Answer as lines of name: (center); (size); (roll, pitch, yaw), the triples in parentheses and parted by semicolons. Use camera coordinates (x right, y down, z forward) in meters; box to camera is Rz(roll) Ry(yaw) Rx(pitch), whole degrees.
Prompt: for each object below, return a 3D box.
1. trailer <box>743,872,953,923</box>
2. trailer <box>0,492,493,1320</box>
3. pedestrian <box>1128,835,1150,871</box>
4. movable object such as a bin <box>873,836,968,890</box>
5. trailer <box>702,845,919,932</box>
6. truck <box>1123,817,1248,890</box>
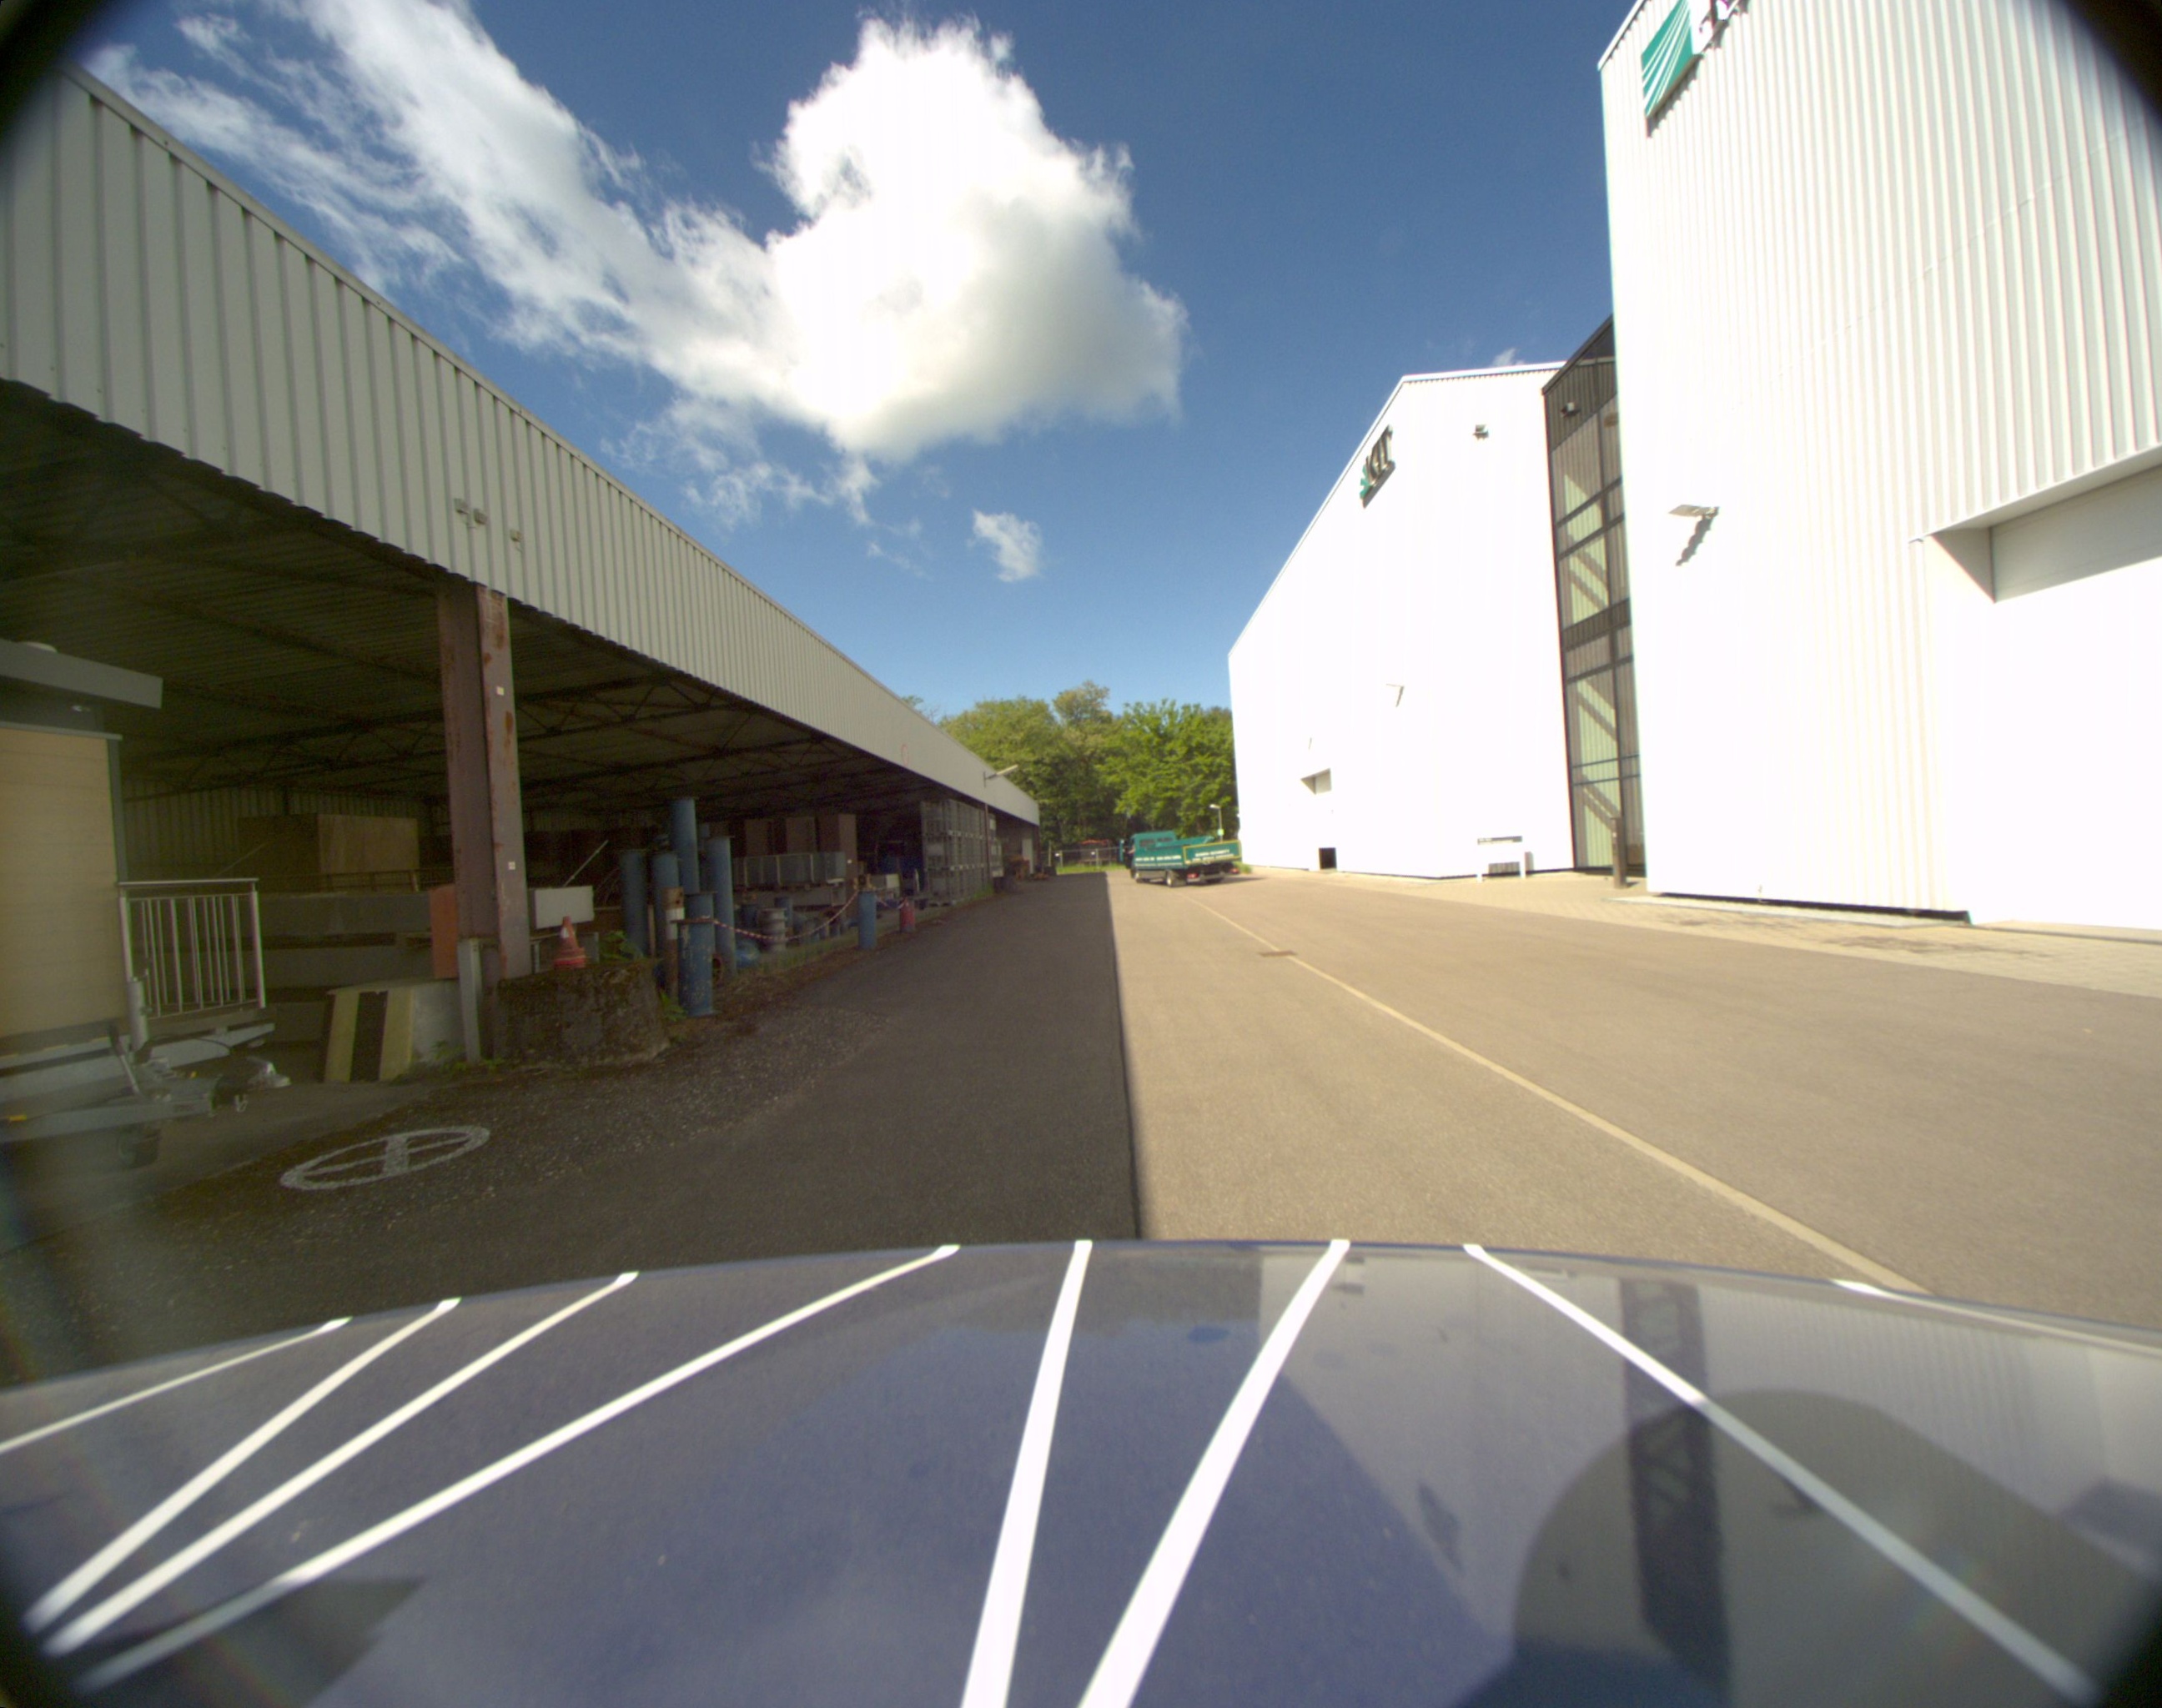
trailer: (-6.983, 1.291, 23.218); (5.748, 1.126, 2.009); (-3, 0, 0)
trailer: (-9.389, 0.369, 4.165); (10.317, 3.276, 2.675); (-2, 1, 2)
pedestrian: (2.969, -0.034, 38.800); (0.893, 1.792, 1.041); (-1, 1, 16)
movable object such as a bin: (-8.728, 0.488, 41.597); (4.626, 2.706, 2.000); (-2, -1, 0)
trailer: (-6.952, 0.856, 19.876); (4.828, 1.985, 2.047); (-2, 1, 4)
truck: (4.490, 0.045, 35.353); (2.589, 2.701, 9.687); (-6, 0, -11)
